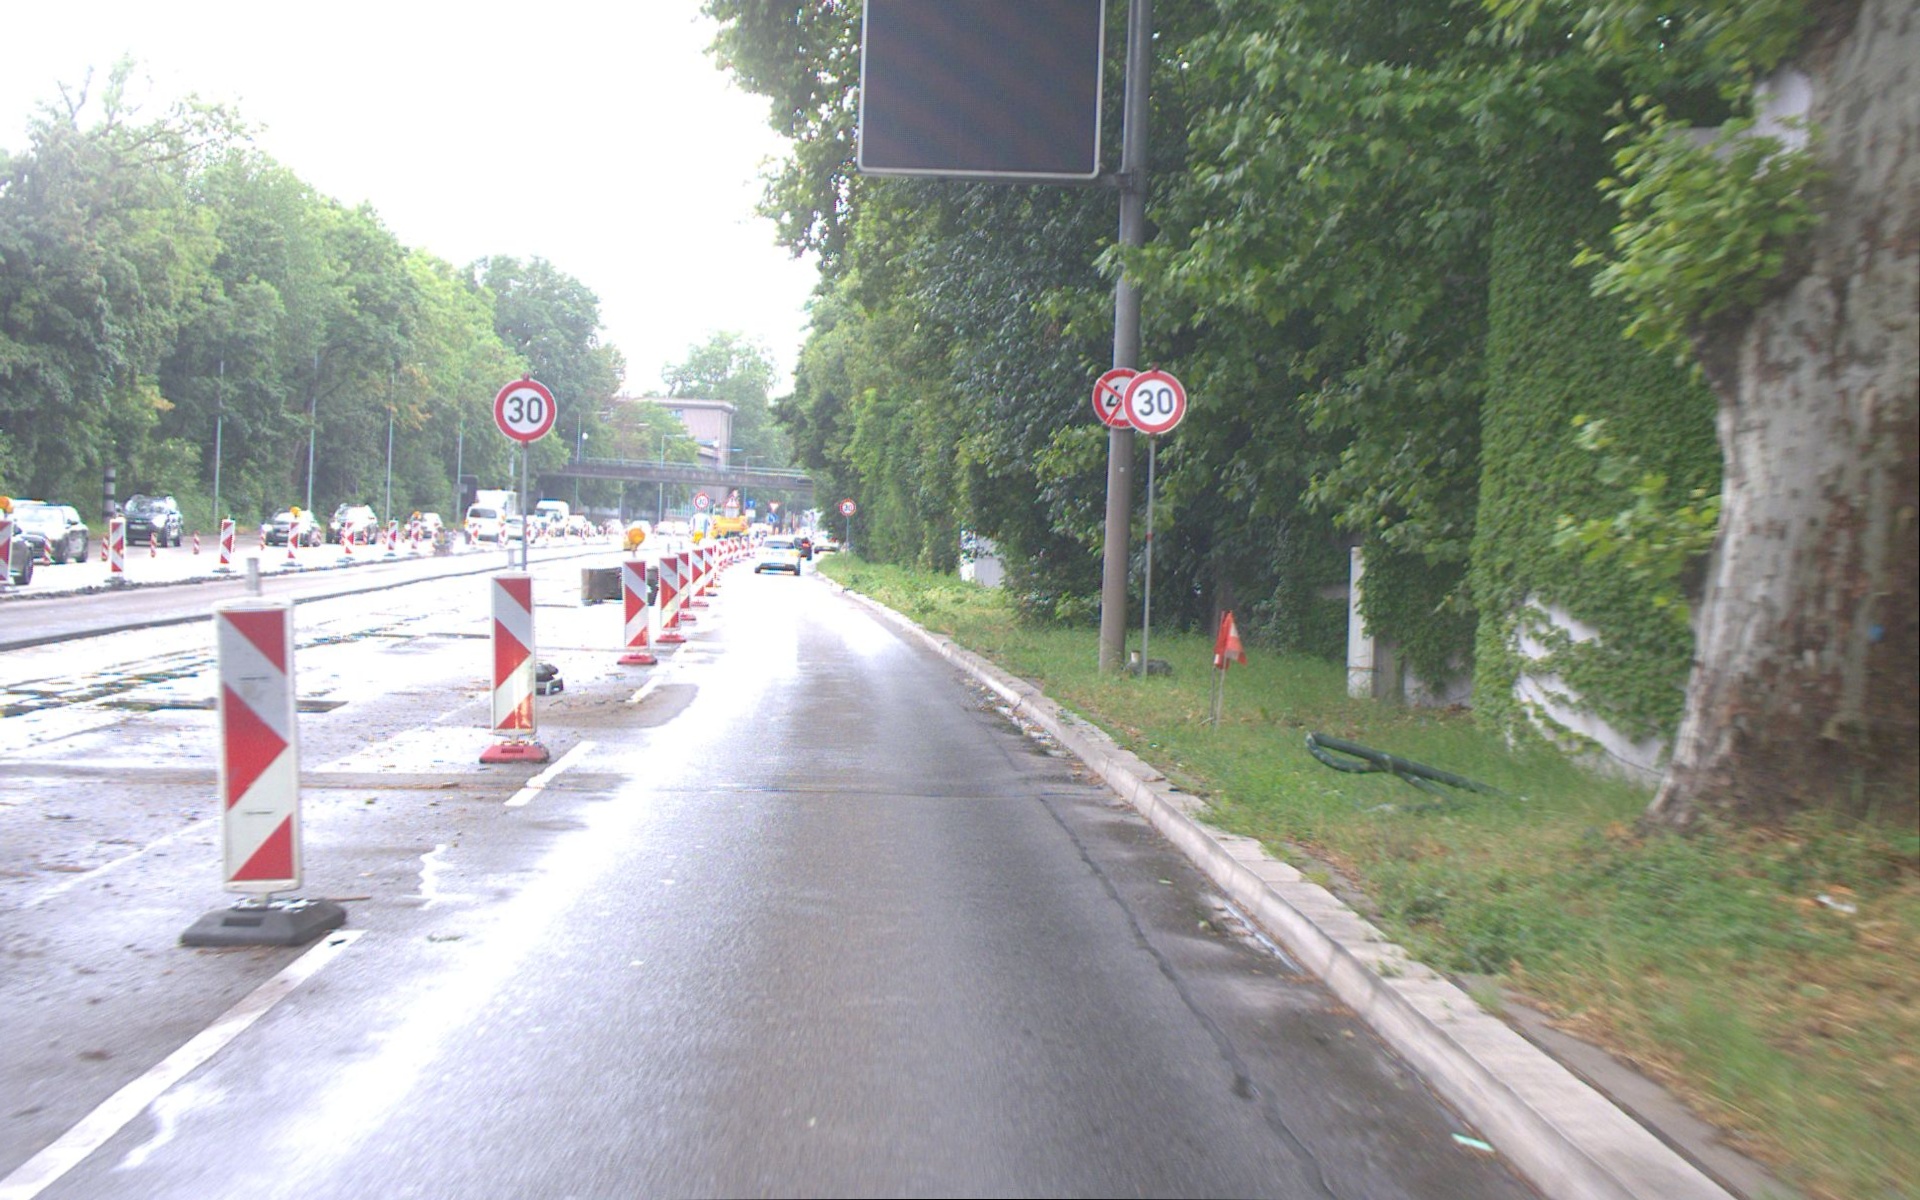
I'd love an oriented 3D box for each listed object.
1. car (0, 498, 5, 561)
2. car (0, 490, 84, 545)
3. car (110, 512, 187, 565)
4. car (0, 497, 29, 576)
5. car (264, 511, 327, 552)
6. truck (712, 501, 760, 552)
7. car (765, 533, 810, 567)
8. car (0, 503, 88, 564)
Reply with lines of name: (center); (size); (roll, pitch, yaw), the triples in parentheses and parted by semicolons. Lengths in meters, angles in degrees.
car: (-21.578, -1.498, 72.606); (1.817, 1.351, 4.391); (1, 1, -3)
car: (-25.623, -2.295, 95.064); (1.817, 1.415, 4.603); (3, 1, -3)
car: (-27.198, -2.072, 115.356); (1.653, 1.679, 4.534); (3, 1, -3)
car: (-17.911, -1.163, 61.432); (1.607, 1.399, 4.042); (3, 1, -3)
car: (-25.480, -2.613, 131.974); (1.760, 1.478, 4.901); (2, 1, -4)
truck: (-16.345, -5.385, 251.975); (3.259, 3.485, 13.872); (3, 1, -3)
car: (-6.824, -1.989, 135.774); (1.697, 1.331, 3.491); (0, 1, -3)
car: (-21.222, -1.530, 78.364); (1.817, 1.351, 4.205); (1, 1, -3)
